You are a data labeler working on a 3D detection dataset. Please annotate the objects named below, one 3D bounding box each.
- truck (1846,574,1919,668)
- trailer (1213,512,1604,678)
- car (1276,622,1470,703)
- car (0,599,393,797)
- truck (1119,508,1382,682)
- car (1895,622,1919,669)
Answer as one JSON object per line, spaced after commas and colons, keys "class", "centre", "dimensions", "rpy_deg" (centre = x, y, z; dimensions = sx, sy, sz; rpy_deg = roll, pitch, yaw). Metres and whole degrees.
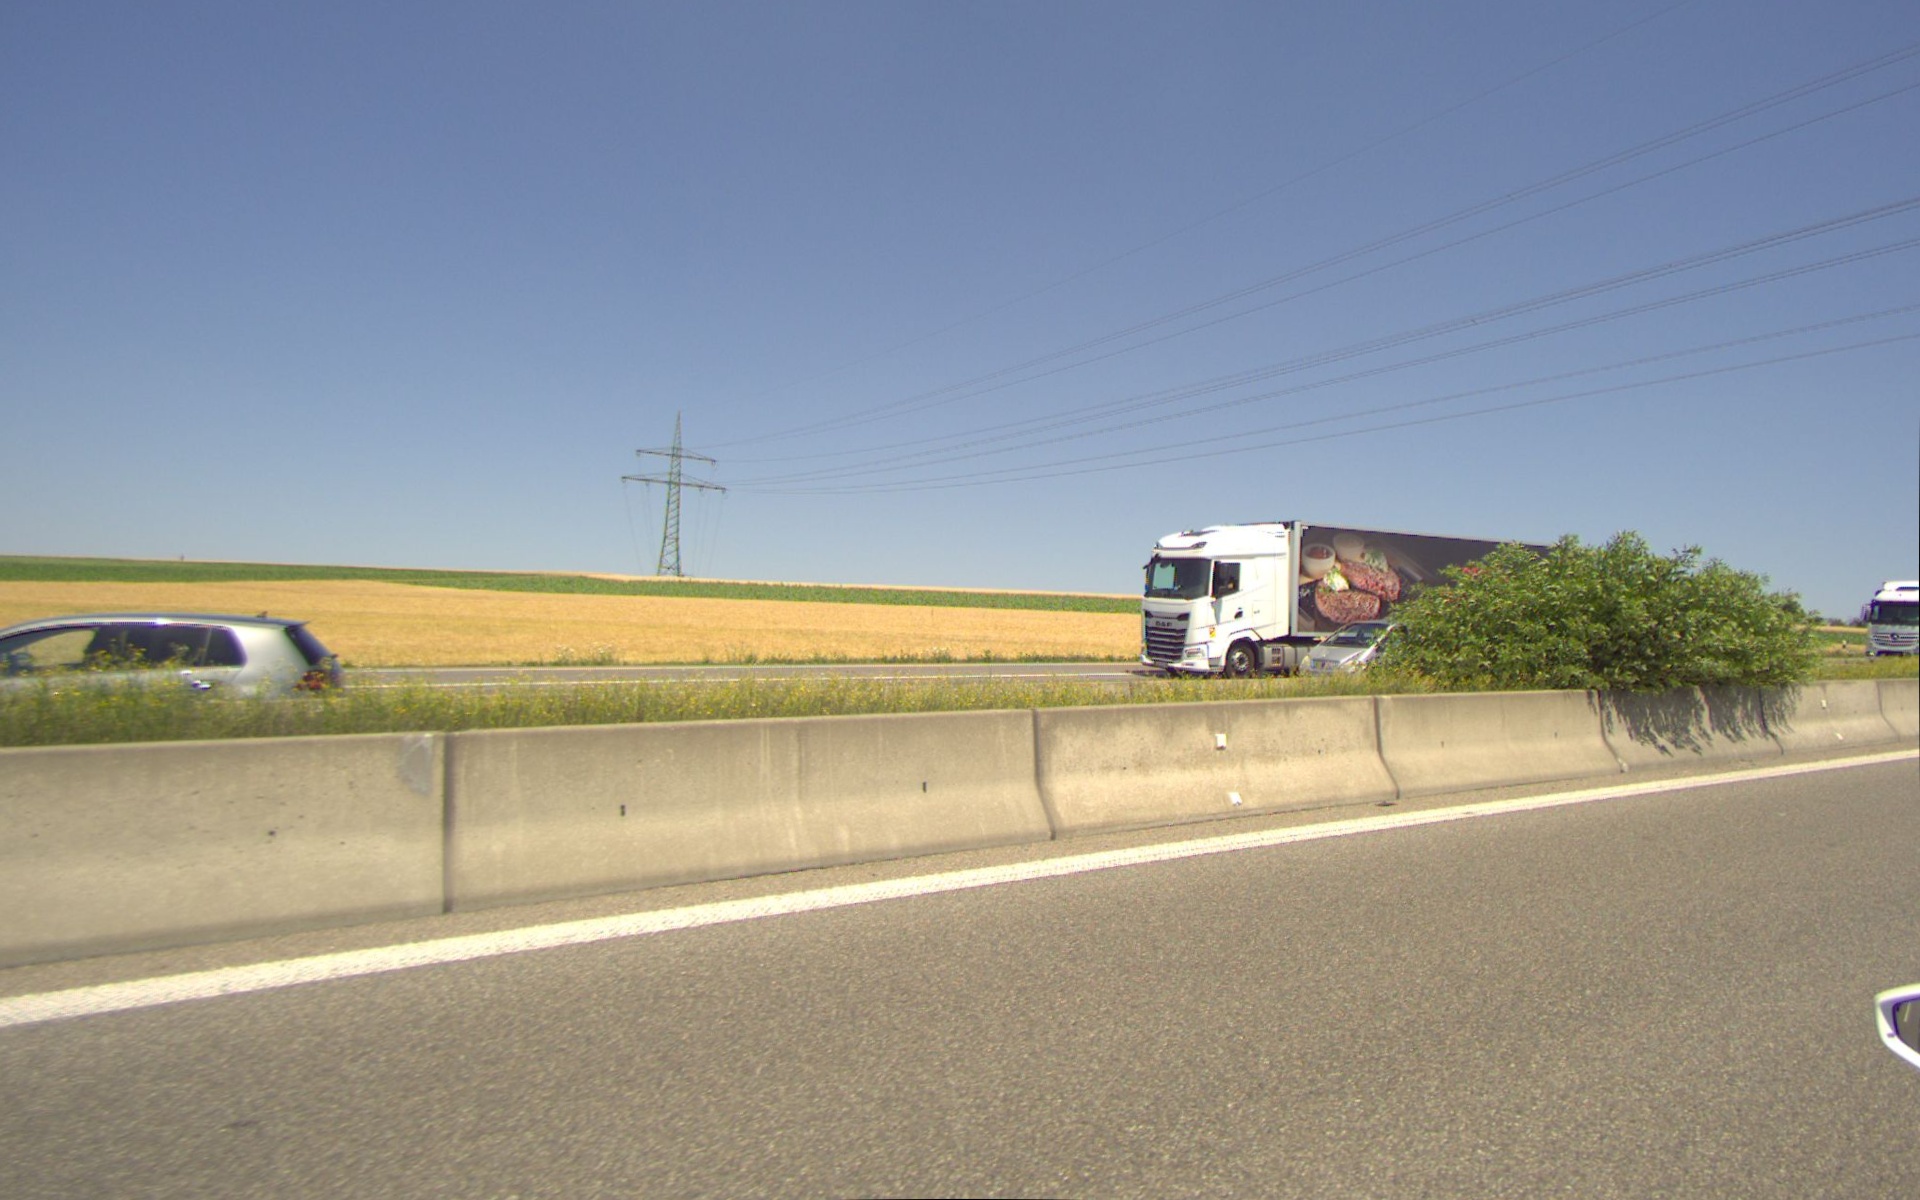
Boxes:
{"class": "truck", "centre": [47.447, 1.062, 49.012], "dimensions": [10.491, 4.227, 2.875], "rpy_deg": [1, 0, -29]}
{"class": "trailer", "centre": [13.724, 0.046, 29.785], "dimensions": [13.836, 4.160, 2.781], "rpy_deg": [2, 0, -29]}
{"class": "car", "centre": [9.168, 1.339, 22.259], "dimensions": [3.953, 1.599, 1.984], "rpy_deg": [2, 0, -31]}
{"class": "car", "centre": [-7.282, 0.782, 8.832], "dimensions": [3.953, 1.487, 1.778], "rpy_deg": [2, 0, -30]}
{"class": "truck", "centre": [7.661, -0.047, 26.337], "dimensions": [6.435, 4.081, 2.840], "rpy_deg": [2, 0, -29]}
{"class": "car", "centre": [39.386, 1.817, 39.794], "dimensions": [5.152, 1.816, 1.984], "rpy_deg": [1, 0, -30]}
